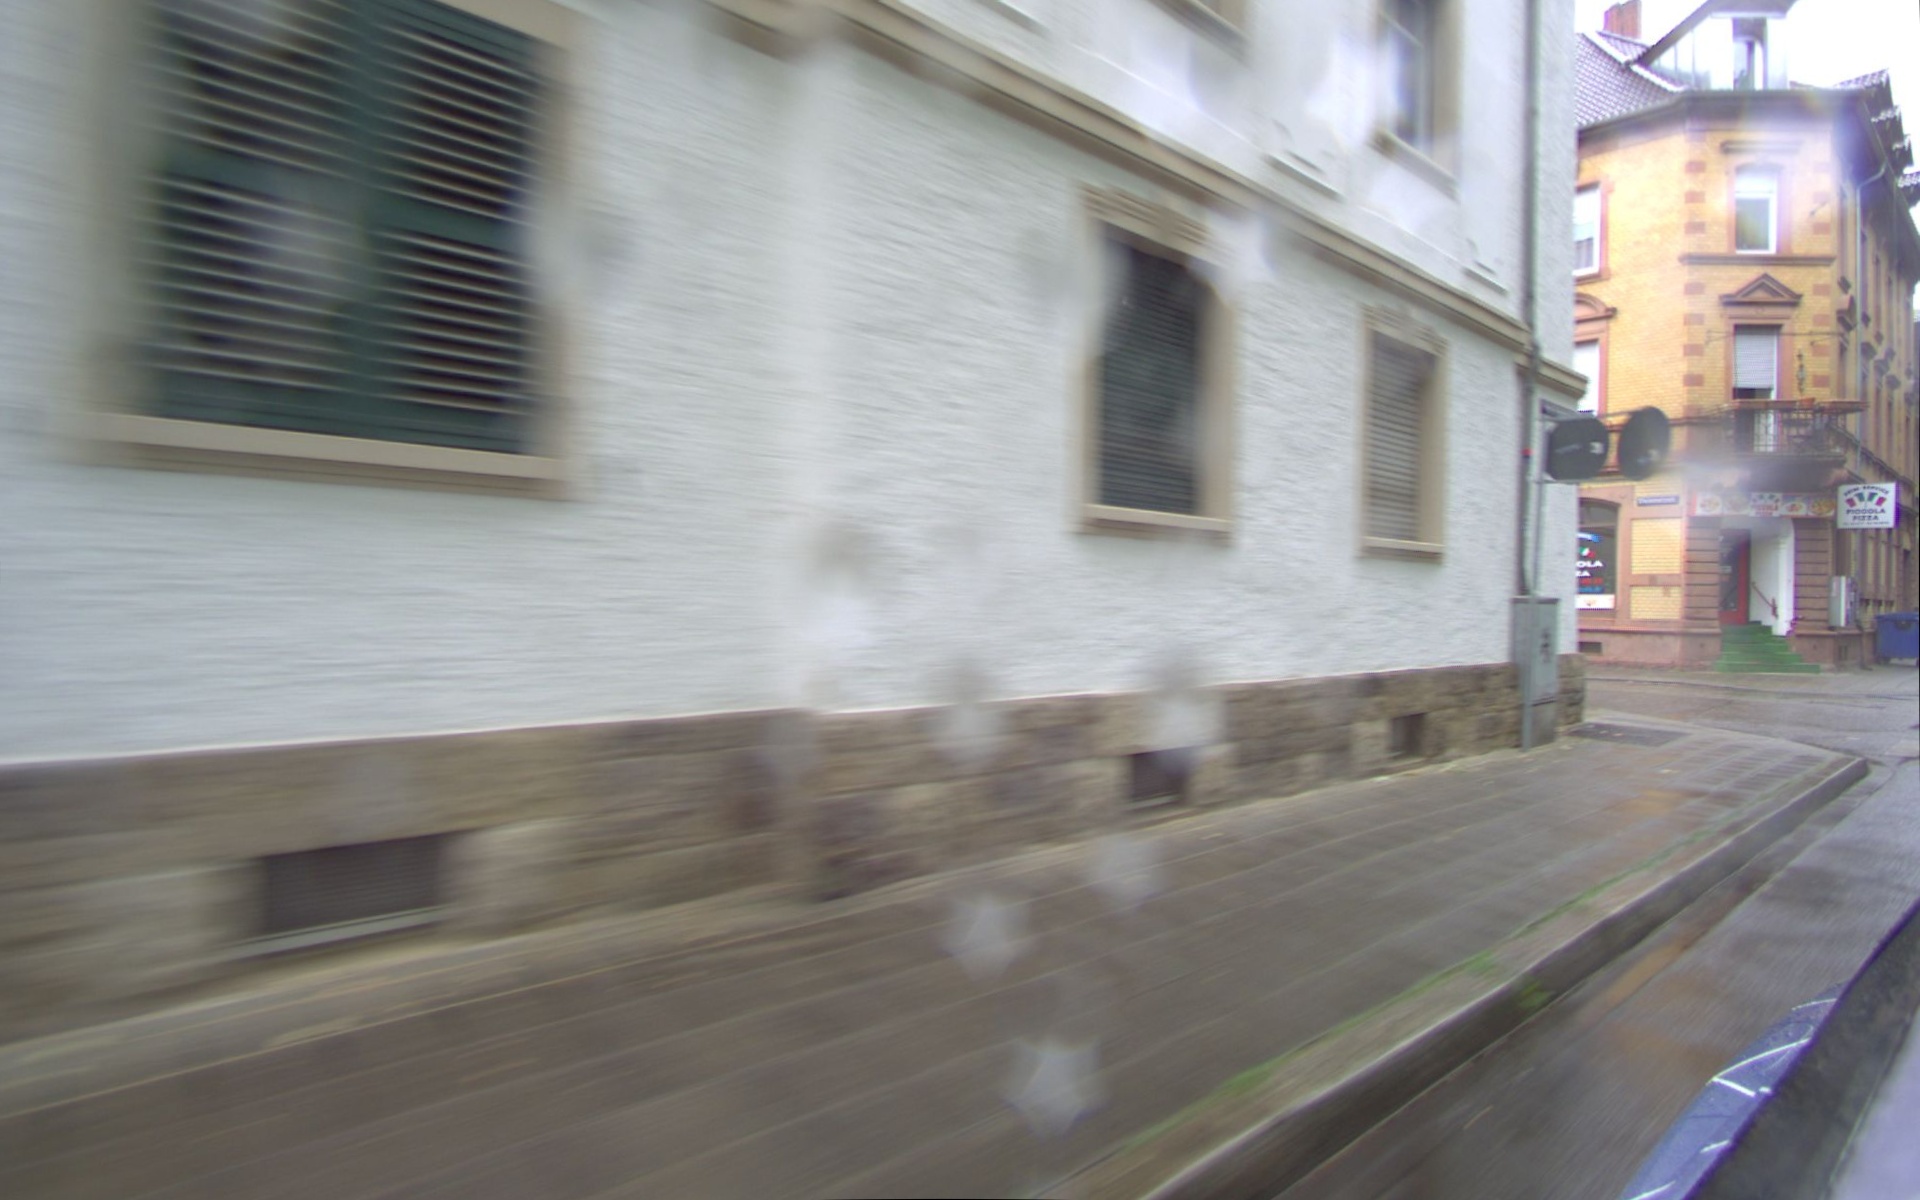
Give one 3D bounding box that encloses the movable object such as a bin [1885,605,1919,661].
[{"bbox_3d":[23.721,0.810,25.069,1.343,1.318,1.023,1,2,-41],"label":"movable object such as a bin"}]
